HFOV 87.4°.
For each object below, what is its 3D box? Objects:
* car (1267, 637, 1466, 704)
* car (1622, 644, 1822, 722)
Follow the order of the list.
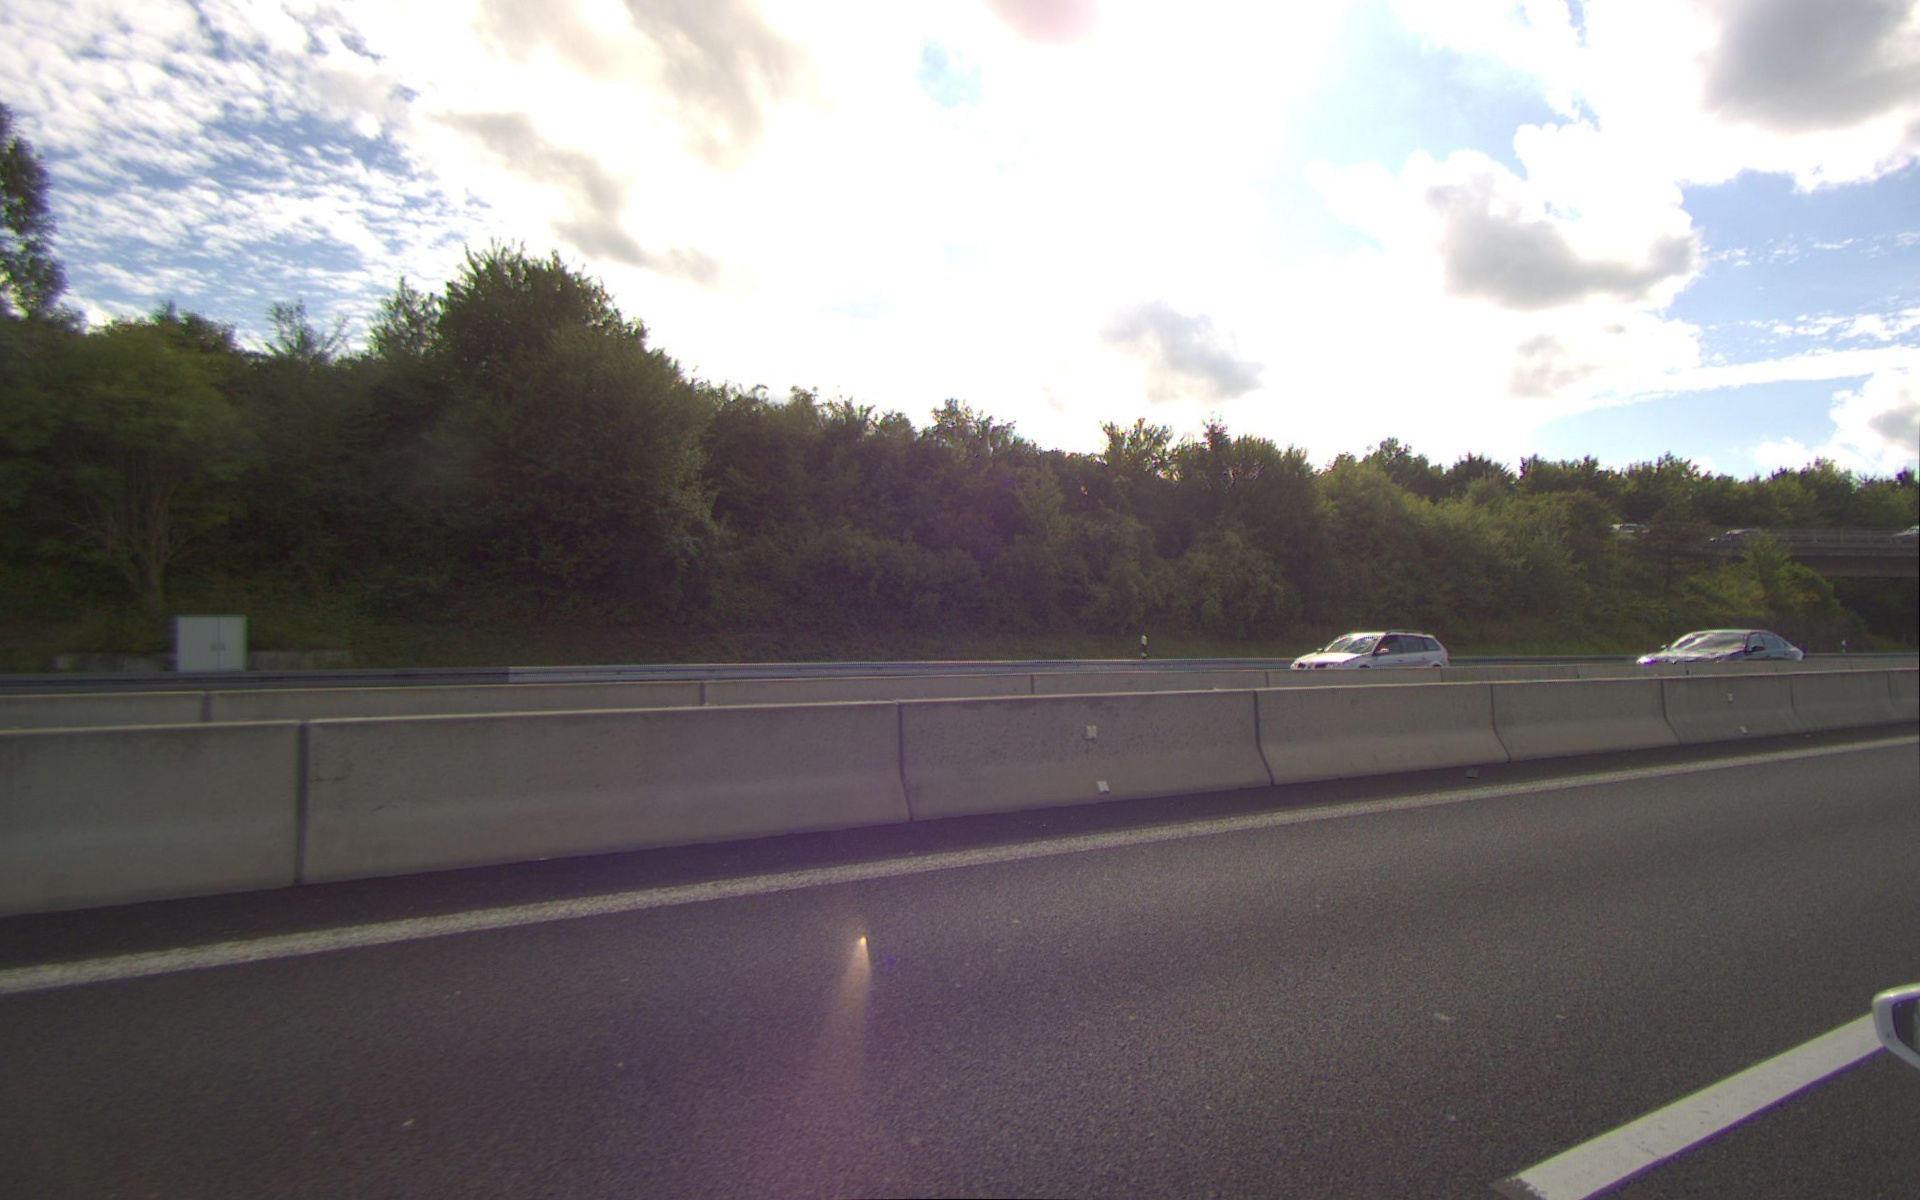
[{"bbox_3d":[9.745,1.622,24.012,4.669,1.455,1.984,1,-3,-31],"label":"car"},{"bbox_3d":[18.161,1.886,23.891,5.135,1.669,1.984,1,-3,-31],"label":"car"}]
